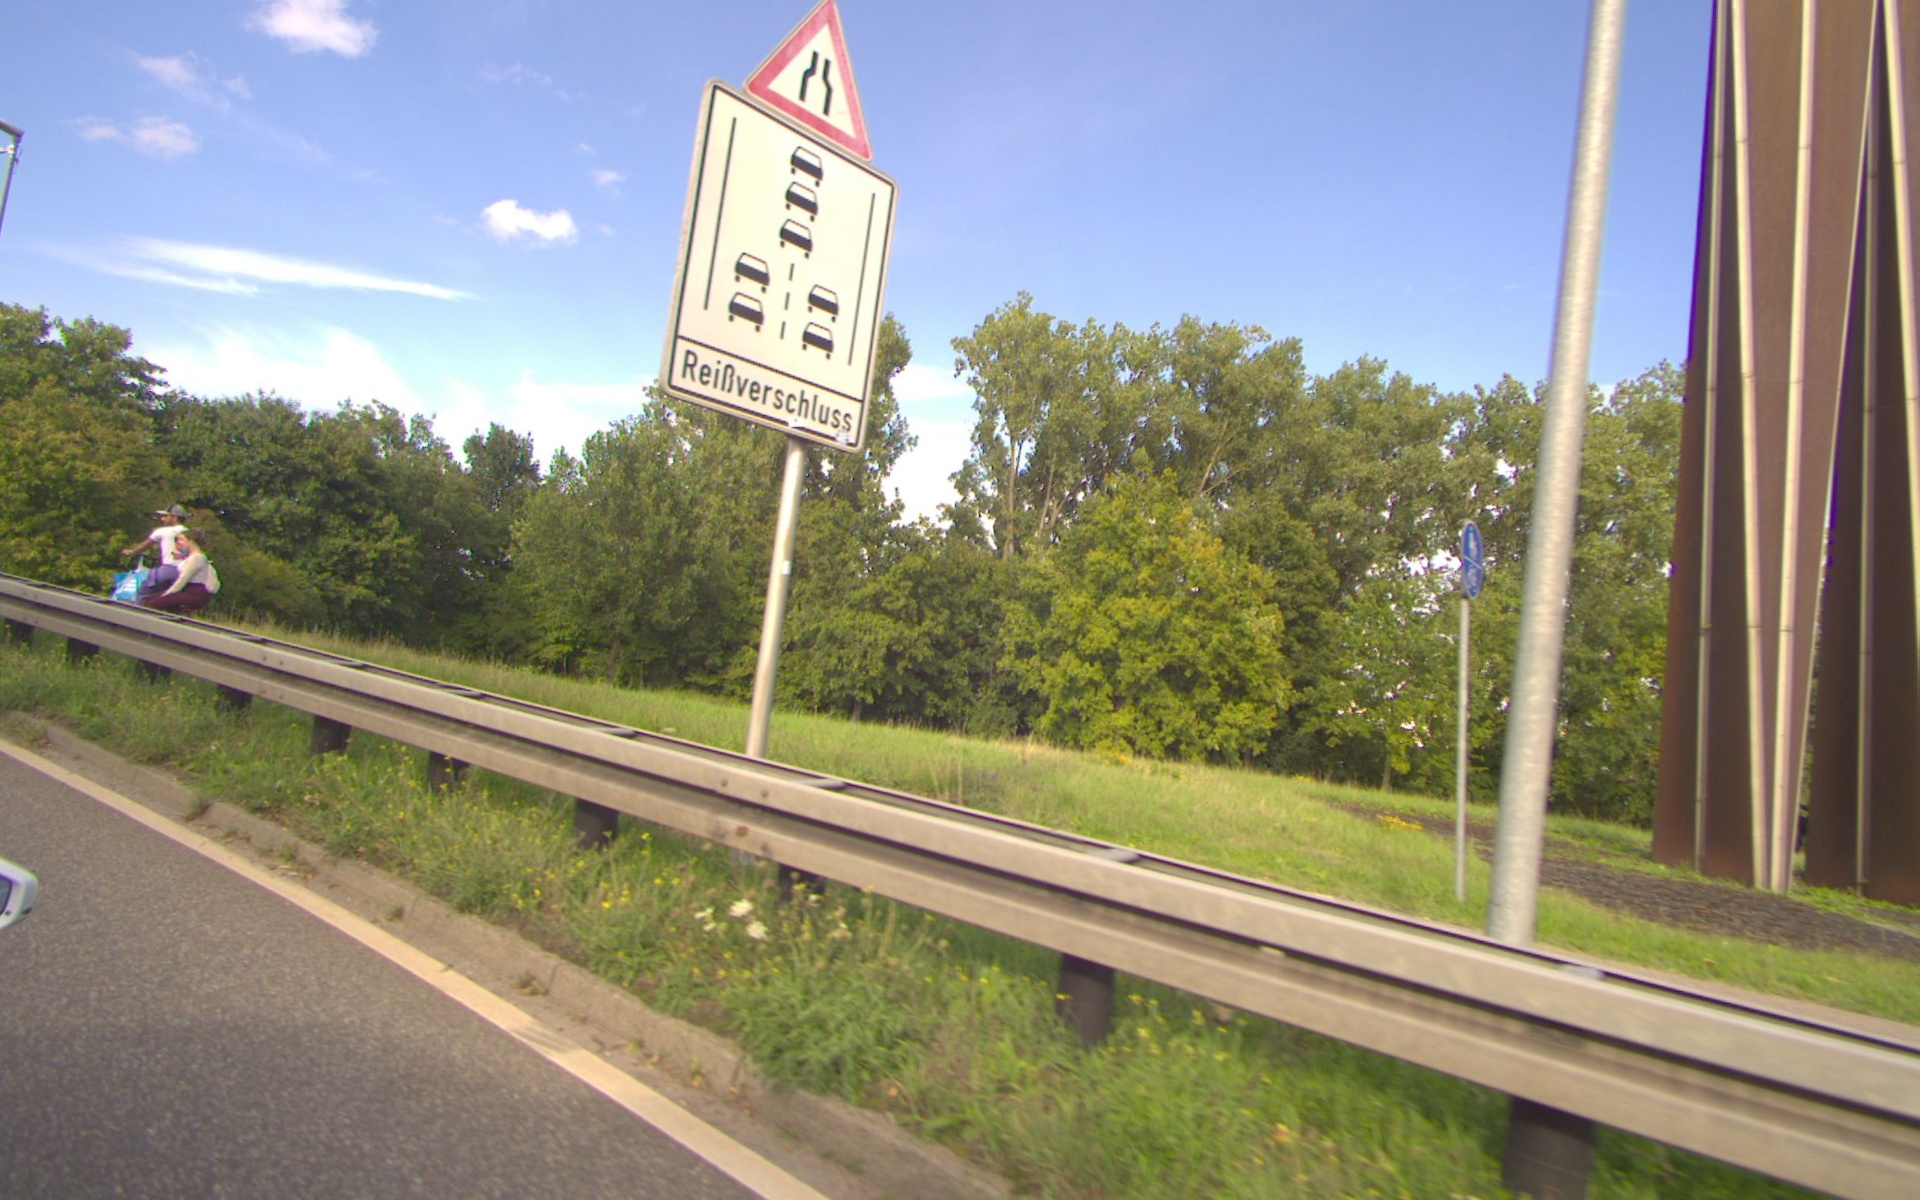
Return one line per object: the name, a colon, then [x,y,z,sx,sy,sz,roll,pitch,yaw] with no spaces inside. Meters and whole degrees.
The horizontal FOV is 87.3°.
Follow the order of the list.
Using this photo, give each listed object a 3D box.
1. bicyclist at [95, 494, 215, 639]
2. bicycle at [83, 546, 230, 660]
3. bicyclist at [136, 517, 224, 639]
bicyclist: [-9.521,-0.388,11.908,0.740,1.575,0.709,7,-1,26]
bicycle: [-9.477,0.030,11.853,1.666,1.133,0.597,7,-1,26]
bicyclist: [-9.026,-0.247,11.647,0.529,1.316,0.501,7,-1,26]
